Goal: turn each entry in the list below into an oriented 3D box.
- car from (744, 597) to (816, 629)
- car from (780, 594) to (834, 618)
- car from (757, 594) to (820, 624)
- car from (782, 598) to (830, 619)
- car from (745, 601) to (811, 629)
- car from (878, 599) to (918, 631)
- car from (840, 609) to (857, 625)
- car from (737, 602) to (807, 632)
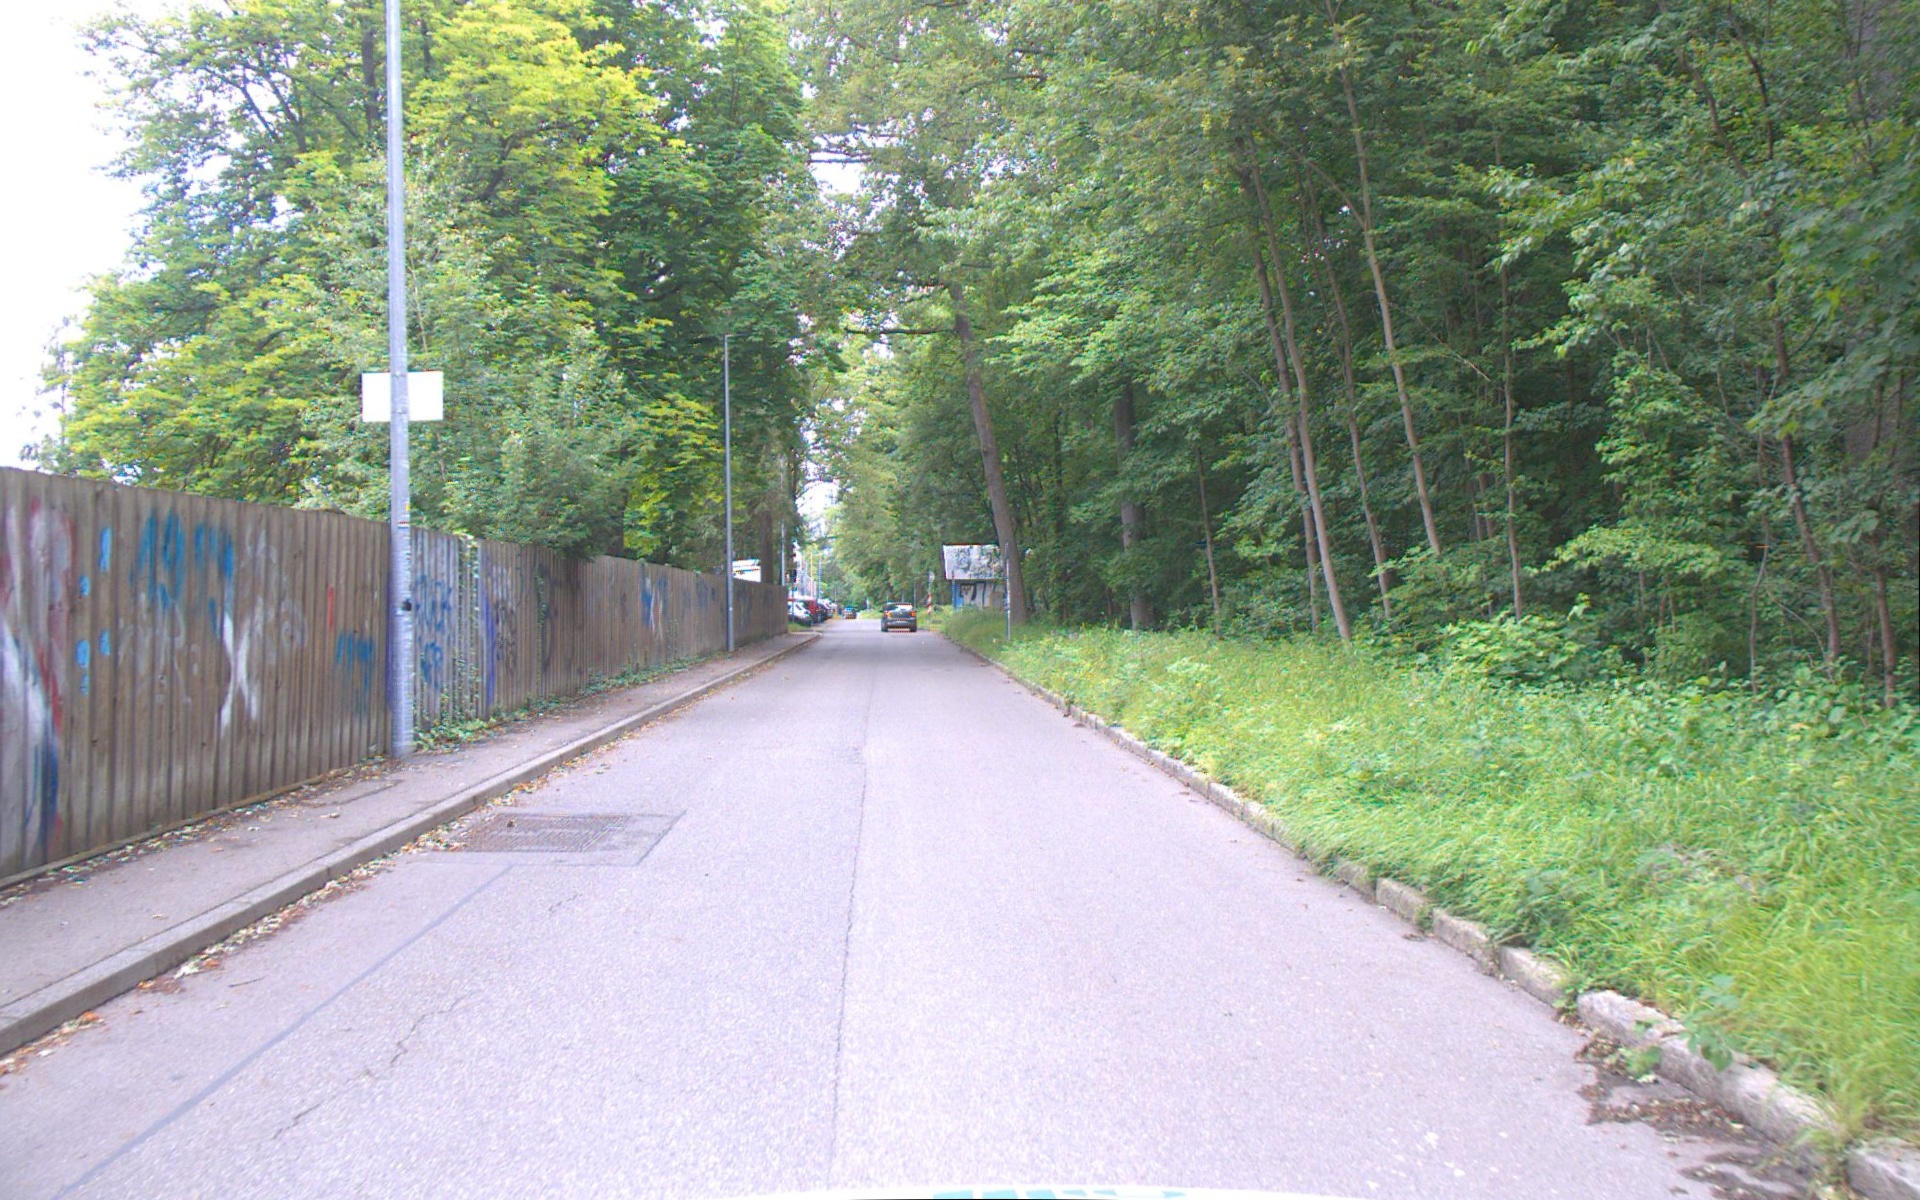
[{"bbox_3d":[-10.091,0.725,92.520,3.911,1.601,1.997,-2,0,-7],"label":"car"},{"bbox_3d":[-11.465,0.452,124.211,3.908,1.624,1.763,-3,-1,-4],"label":"car"},{"bbox_3d":[-10.927,0.587,105.572,3.911,1.780,1.997,-1,0,-7],"label":"car"},{"bbox_3d":[-13.009,0.725,140.217,3.908,1.624,1.763,-3,-1,-4],"label":"car"},{"bbox_3d":[-11.060,0.888,100.428,3.911,1.601,1.997,-1,0,-7],"label":"car"},{"bbox_3d":[-3.083,0.768,82.659,1.869,1.534,3.998,1,-1,-2],"label":"car"},{"bbox_3d":[-14.904,2.294,220.588,1.956,2.049,3.992,-1,0,-8],"label":"car"},{"bbox_3d":[-10.756,0.959,94.811,3.911,1.601,1.997,-1,0,-7],"label":"car"}]
